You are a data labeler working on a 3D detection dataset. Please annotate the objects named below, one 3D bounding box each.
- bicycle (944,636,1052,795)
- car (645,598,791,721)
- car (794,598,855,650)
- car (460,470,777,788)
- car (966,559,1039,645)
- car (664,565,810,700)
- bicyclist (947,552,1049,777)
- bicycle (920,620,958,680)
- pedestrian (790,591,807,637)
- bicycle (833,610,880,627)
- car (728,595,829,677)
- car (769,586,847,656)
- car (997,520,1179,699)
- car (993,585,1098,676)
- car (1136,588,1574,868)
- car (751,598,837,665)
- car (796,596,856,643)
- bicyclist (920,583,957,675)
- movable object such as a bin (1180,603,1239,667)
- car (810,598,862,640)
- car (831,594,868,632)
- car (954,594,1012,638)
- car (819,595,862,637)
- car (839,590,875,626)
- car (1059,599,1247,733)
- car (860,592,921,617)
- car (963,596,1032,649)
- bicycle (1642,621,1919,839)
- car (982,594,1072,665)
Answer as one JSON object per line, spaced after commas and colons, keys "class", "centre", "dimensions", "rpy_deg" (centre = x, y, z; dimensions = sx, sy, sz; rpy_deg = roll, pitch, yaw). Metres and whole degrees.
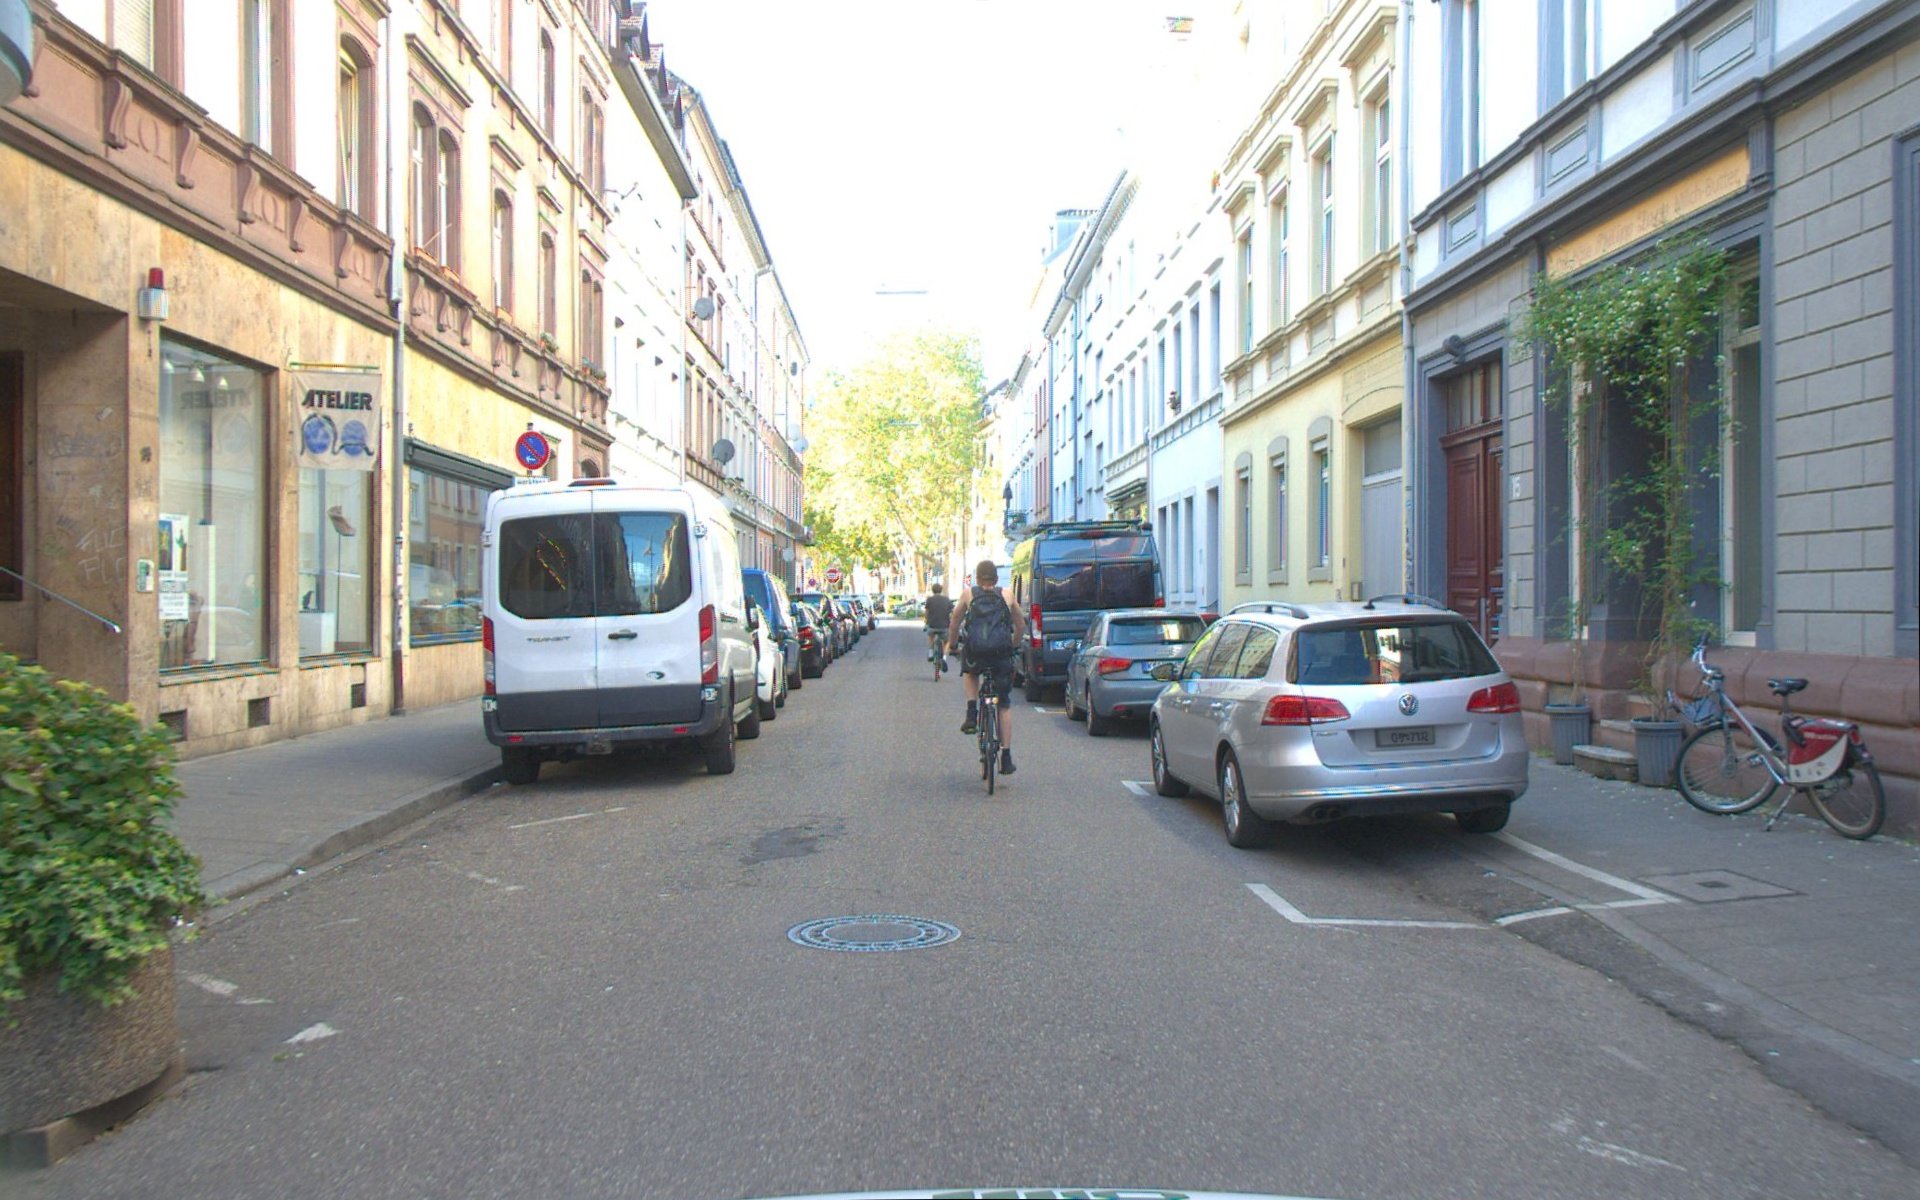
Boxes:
{"class": "bicycle", "centre": [0.275, 0.882, 13.328], "dimensions": [0.725, 1.120, 2.041], "rpy_deg": [1, 0, -2]}
{"class": "car", "centre": [-3.180, 0.731, 22.346], "dimensions": [1.613, 1.472, 3.837], "rpy_deg": [-1, 0, -4]}
{"class": "car", "centre": [-4.032, 0.693, 49.613], "dimensions": [1.559, 1.465, 3.653], "rpy_deg": [-1, 0, -1]}
{"class": "car", "centre": [-3.074, 0.217, 16.295], "dimensions": [2.125, 2.495, 5.918], "rpy_deg": [-2, 0, -3]}
{"class": "car", "centre": [1.300, 0.046, 53.228], "dimensions": [2.159, 2.595, 6.036], "rpy_deg": [-1, 0, 0]}
{"class": "car", "centre": [-3.533, 0.474, 26.931], "dimensions": [1.791, 1.924, 4.612], "rpy_deg": [-3, 0, -2]}
{"class": "bicyclist", "centre": [0.287, 0.495, 13.258], "dimensions": [0.725, 1.708, 1.116], "rpy_deg": [1, 0, -2]}
{"class": "bicycle", "centre": [-0.402, 0.917, 30.941], "dimensions": [0.650, 1.055, 1.958], "rpy_deg": [-1, 0, -2]}
{"class": "pedestrian", "centre": [-6.822, 0.586, 69.851], "dimensions": [0.598, 1.890, 0.753], "rpy_deg": [2, 0, -3]}
{"class": "bicycle", "centre": [-5.880, 1.048, 93.859], "dimensions": [2.662, 0.907, 0.618], "rpy_deg": [-1, 0, -5]}
{"class": "car", "centre": [-3.621, 0.675, 33.623], "dimensions": [1.825, 1.465, 4.641], "rpy_deg": [-1, 1, -4]}
{"class": "car", "centre": [-4.059, 0.541, 44.632], "dimensions": [1.765, 1.727, 3.998], "rpy_deg": [-3, 0, -2]}
{"class": "car", "centre": [1.895, 0.125, 26.640], "dimensions": [2.131, 2.467, 6.306], "rpy_deg": [-2, 0, -2]}
{"class": "car", "centre": [1.655, 0.566, 33.203], "dimensions": [1.660, 1.636, 4.373], "rpy_deg": [-2, 0, -2]}
{"class": "car", "centre": [2.493, 0.718, 11.662], "dimensions": [1.751, 1.479, 4.545], "rpy_deg": [-3, 0, -3]}
{"class": "car", "centre": [-3.839, 0.690, 38.678], "dimensions": [1.701, 1.452, 3.999], "rpy_deg": [-1, 0, -2]}
{"class": "car", "centre": [-4.390, 0.630, 54.578], "dimensions": [1.639, 1.455, 3.888], "rpy_deg": [-1, 0, 0]}
{"class": "bicyclist", "centre": [-0.403, 0.532, 30.908], "dimensions": [0.656, 1.687, 0.877], "rpy_deg": [-1, 0, -2]}
{"class": "movable object such as a bin", "centre": [4.384, 0.611, 29.086], "dimensions": [0.846, 1.060, 0.707], "rpy_deg": [-4, 0, -4]}
{"class": "car", "centre": [-4.441, 0.660, 59.637], "dimensions": [1.672, 1.438, 4.300], "rpy_deg": [-1, 0, -2]}
{"class": "car", "centre": [-4.828, 0.555, 71.962], "dimensions": [1.514, 1.578, 3.461], "rpy_deg": [-1, 0, -5]}
{"class": "car", "centre": [0.796, 0.558, 59.740], "dimensions": [1.697, 1.496, 4.017], "rpy_deg": [-1, 0, -5]}
{"class": "car", "centre": [-4.659, 0.592, 64.590], "dimensions": [1.573, 1.556, 3.376], "rpy_deg": [-2, 0, -4]}
{"class": "car", "centre": [-5.219, 0.385, 84.154], "dimensions": [1.752, 1.767, 3.874], "rpy_deg": [-1, 0, -2]}
{"class": "car", "centre": [2.266, 0.725, 20.420], "dimensions": [1.712, 1.469, 4.170], "rpy_deg": [0, 0, -2]}
{"class": "car", "centre": [-5.203, 0.342, 123.409], "dimensions": [4.383, 1.790, 1.864], "rpy_deg": [-1, 0, -6]}
{"class": "car", "centre": [1.045, 0.614, 47.772], "dimensions": [1.691, 1.454, 3.830], "rpy_deg": [-1, 0, -3]}
{"class": "bicycle", "centre": [4.886, 0.712, 9.846], "dimensions": [0.696, 1.116, 1.899], "rpy_deg": [-3, 0, -4]}
{"class": "car", "centre": [1.477, 0.636, 37.949], "dimensions": [1.711, 1.511, 4.241], "rpy_deg": [-1, 0, -2]}
